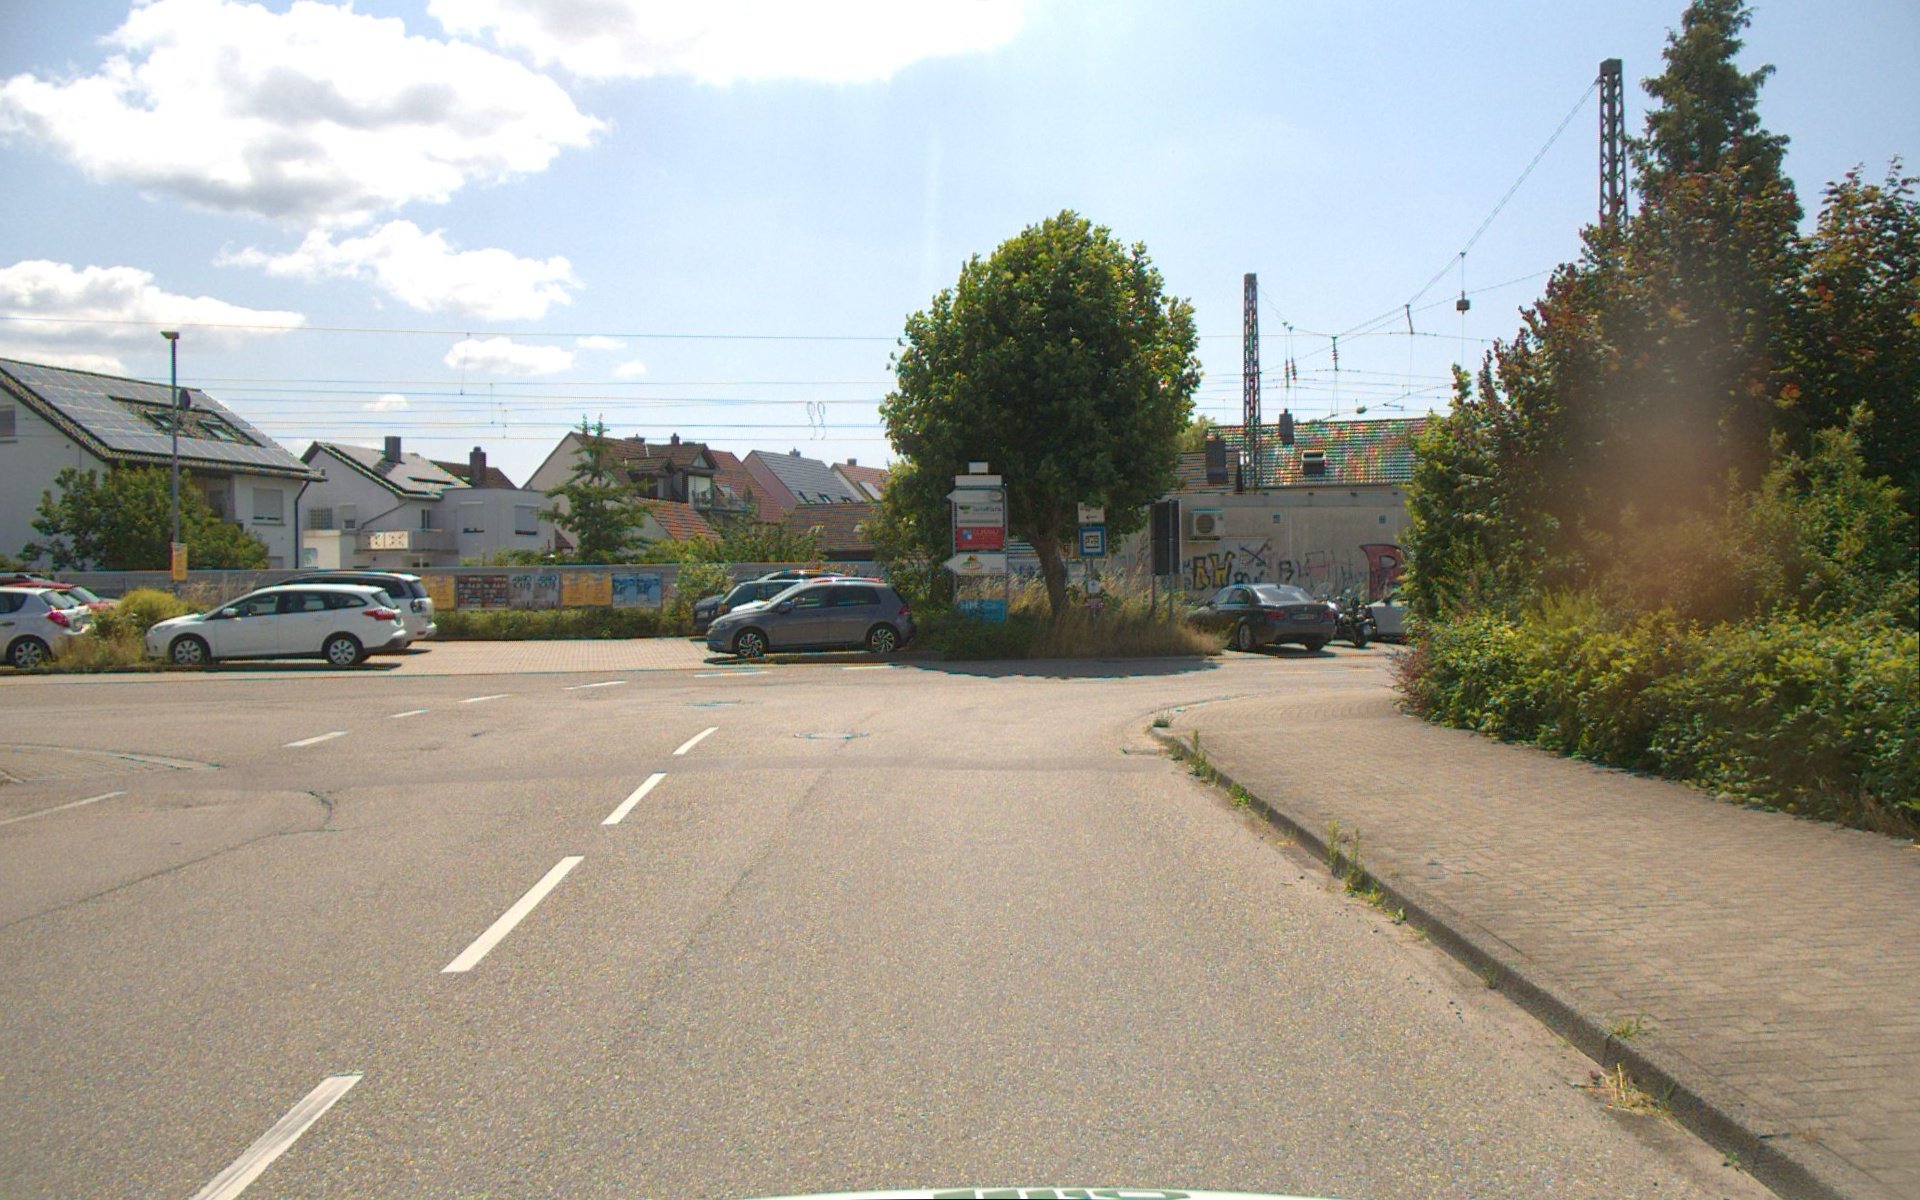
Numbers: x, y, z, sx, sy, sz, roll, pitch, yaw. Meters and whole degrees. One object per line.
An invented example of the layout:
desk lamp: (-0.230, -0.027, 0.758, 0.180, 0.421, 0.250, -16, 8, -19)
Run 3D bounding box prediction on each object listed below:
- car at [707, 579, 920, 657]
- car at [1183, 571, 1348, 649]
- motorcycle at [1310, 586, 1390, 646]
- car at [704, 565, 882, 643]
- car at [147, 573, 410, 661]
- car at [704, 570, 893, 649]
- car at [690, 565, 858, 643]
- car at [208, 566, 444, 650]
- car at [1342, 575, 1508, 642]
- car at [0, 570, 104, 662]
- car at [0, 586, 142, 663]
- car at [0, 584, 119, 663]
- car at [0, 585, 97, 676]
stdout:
car: (-2.942, 0.355, 32.853, 4.110, 1.488, 1.661, 0, 0, -10)
car: (6.591, 0.182, 36.151, 1.726, 1.410, 3.977, 1, 4, -21)
motorcycle: (8.742, 0.339, 37.134, 0.883, 1.250, 1.987, -1, 2, -16)
car: (-3.863, 0.075, 37.869, 3.915, 1.686, 1.995, -1, 0, -11)
car: (-12.545, 0.316, 30.696, 4.208, 1.502, 1.821, 1, -1, -13)
car: (-3.491, 0.197, 35.461, 3.914, 1.614, 1.776, -1, 0, -10)
car: (-4.542, 0.097, 40.193, 3.915, 1.760, 1.766, 1, -1, -10)
car: (-13.486, 0.154, 35.439, 4.370, 1.720, 1.996, 0, 1, -10)
car: (10.785, 0.169, 38.640, 1.677, 1.401, 4.092, 1, 2, -19)
car: (-18.856, 0.350, 31.573, 4.096, 1.667, 1.946, -2, 1, -18)
car: (-20.267, 0.524, 36.433, 3.769, 1.617, 1.491, -1, 0, -16)
car: (-19.610, 0.482, 34.117, 3.719, 1.585, 1.688, -1, 0, -14)
car: (-17.822, 0.537, 29.600, 3.939, 1.589, 1.813, 0, 0, -19)
